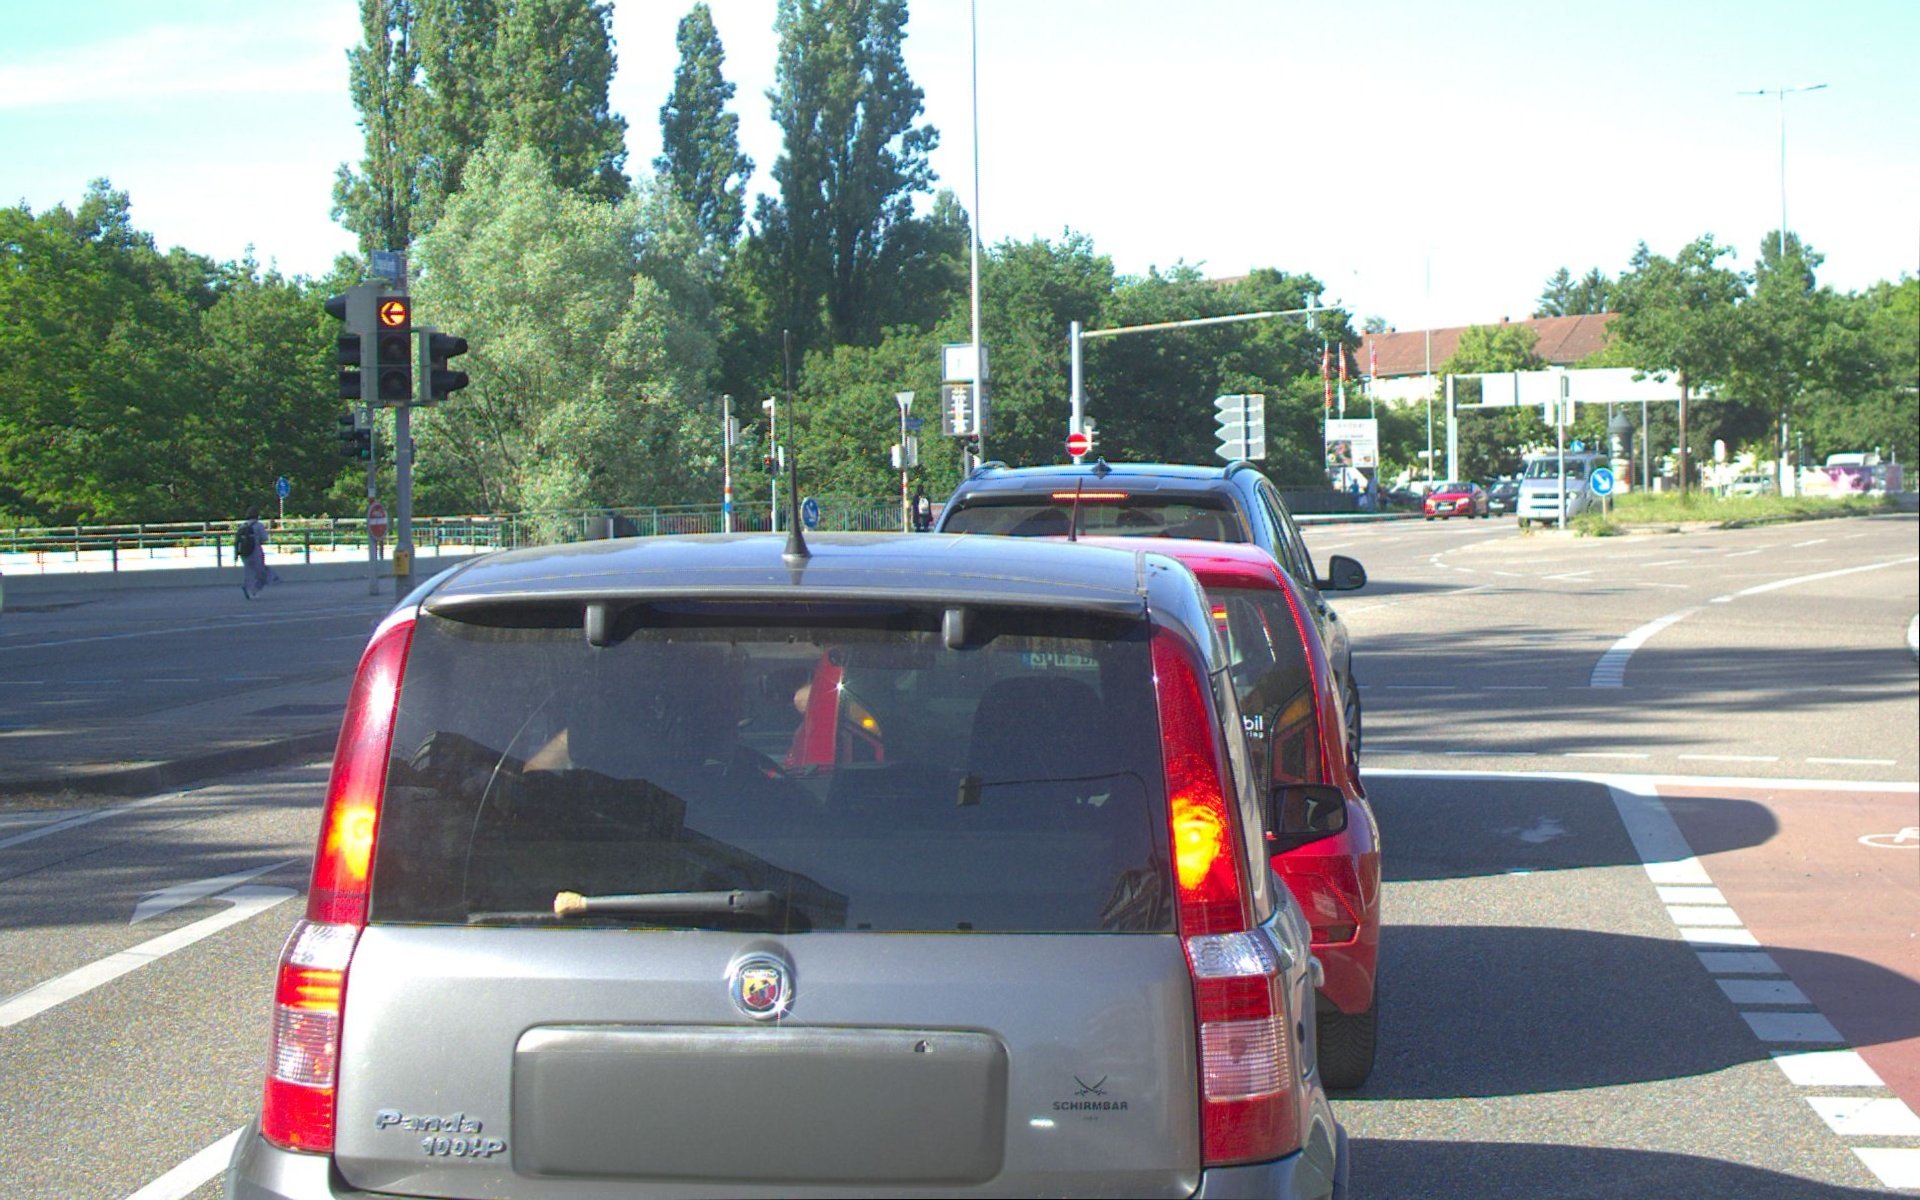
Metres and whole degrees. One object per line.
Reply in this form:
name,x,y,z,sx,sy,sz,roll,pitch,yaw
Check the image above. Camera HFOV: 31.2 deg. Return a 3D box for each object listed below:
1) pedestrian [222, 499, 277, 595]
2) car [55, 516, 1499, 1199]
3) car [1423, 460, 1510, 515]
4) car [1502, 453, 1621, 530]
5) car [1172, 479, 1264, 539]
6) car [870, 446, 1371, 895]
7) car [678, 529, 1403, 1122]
pedestrian,-11.893,-0.880,57.557,0.686,1.533,1.366,0,-2,-3
car,-0.144,0.619,6.366,1.820,1.484,4.000,2,2,3
car,18.883,-4.175,128.056,2.015,1.848,4.880,0,-1,24
car,16.120,-2.867,91.921,2.015,1.848,4.880,0,-1,24
car,8.725,-3.042,115.879,2.015,1.848,4.426,0,-1,19
car,0.897,0.208,16.097,1.869,1.784,4.413,1,2,9
car,0.280,0.527,10.722,1.820,1.474,4.000,1,1,2
